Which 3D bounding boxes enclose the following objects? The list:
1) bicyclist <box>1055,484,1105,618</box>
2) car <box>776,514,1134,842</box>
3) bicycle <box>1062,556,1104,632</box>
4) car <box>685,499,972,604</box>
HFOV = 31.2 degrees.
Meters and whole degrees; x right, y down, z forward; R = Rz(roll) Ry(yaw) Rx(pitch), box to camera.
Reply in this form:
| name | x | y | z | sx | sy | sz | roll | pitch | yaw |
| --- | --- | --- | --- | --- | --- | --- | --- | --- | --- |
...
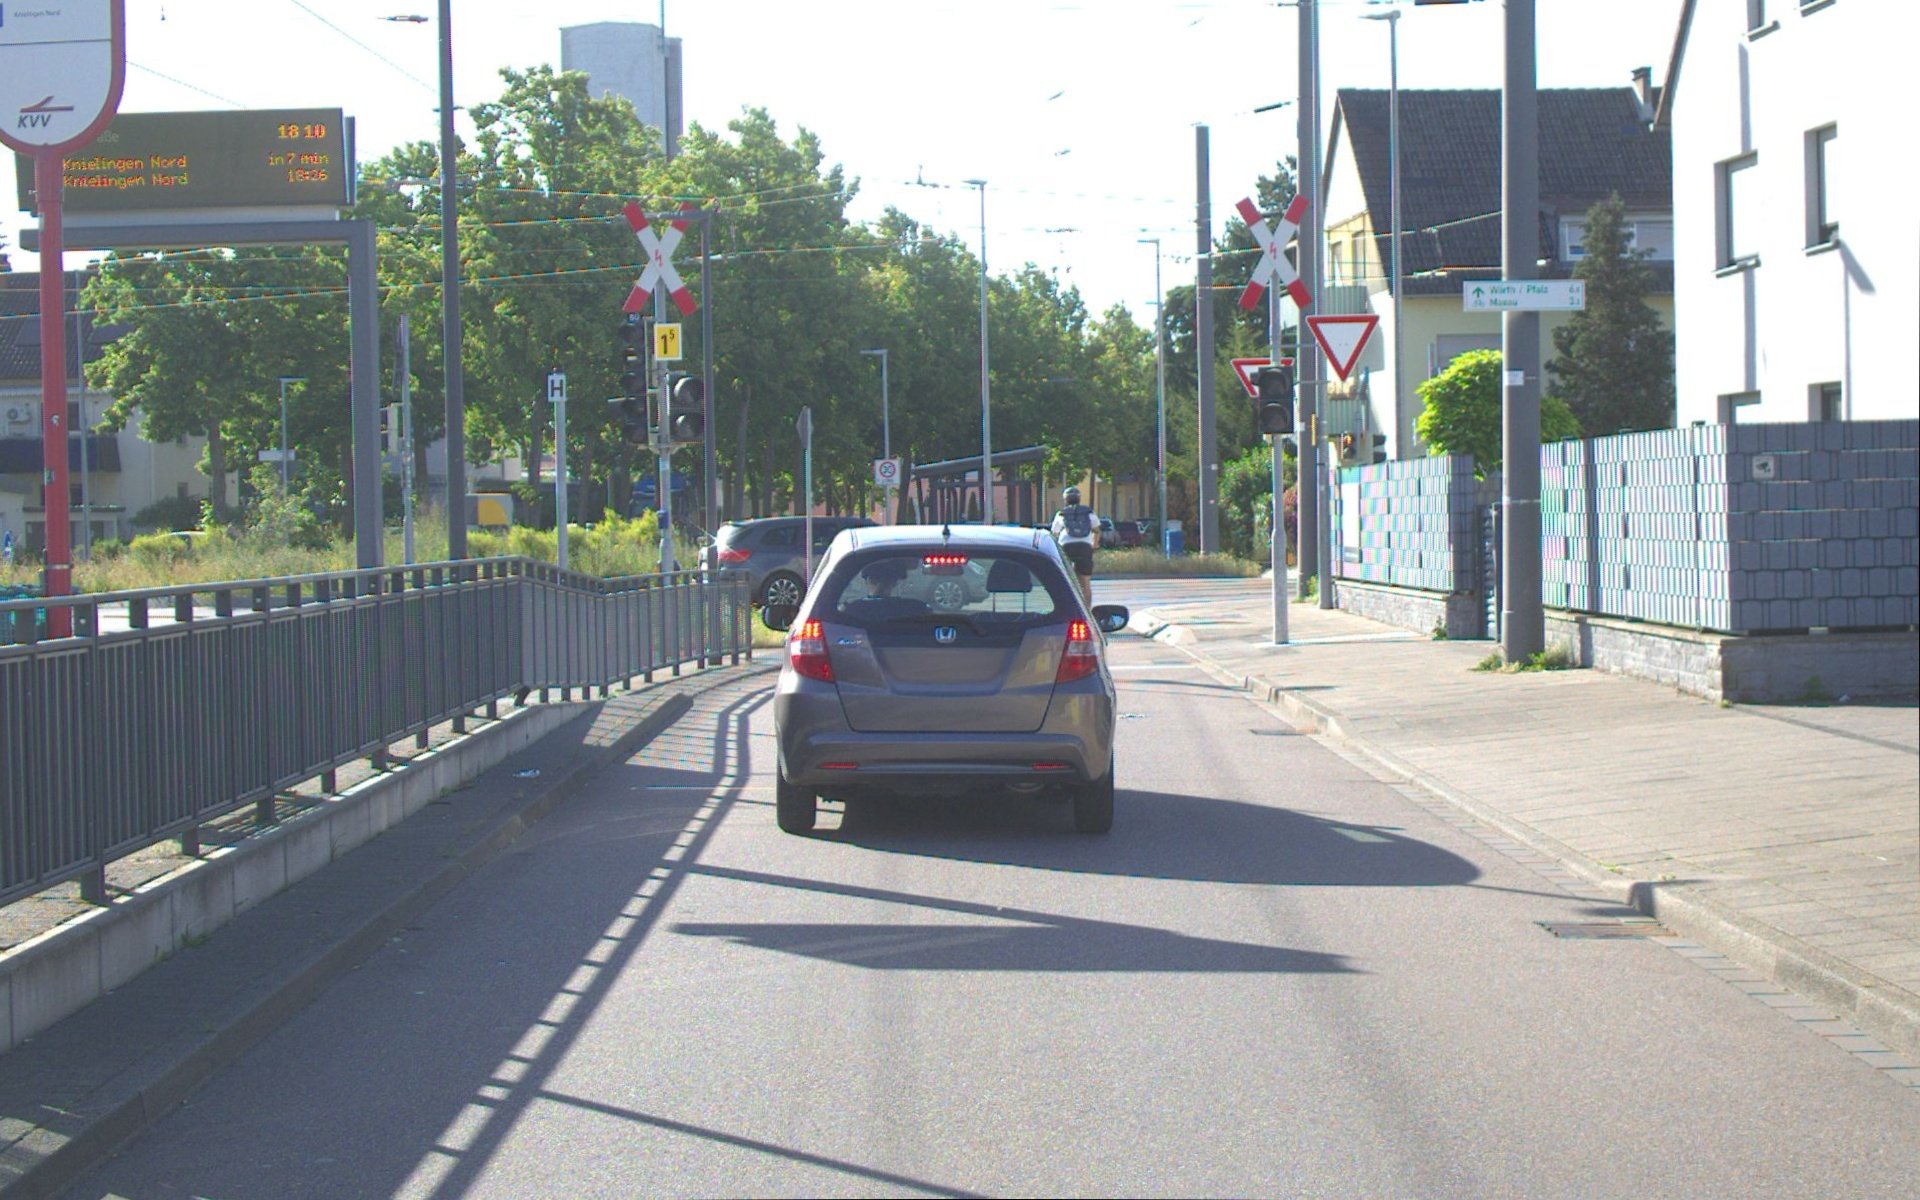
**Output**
| name | x | y | z | sx | sy | sz | roll | pitch | yaw |
| --- | --- | --- | --- | --- | --- | --- | --- | --- | --- |
| bicyclist | 1.543 | -0.629 | 44.258 | 0.598 | 1.695 | 0.683 | 1 | 1 | 0 |
| car | -0.062 | 0.330 | 17.967 | 1.670 | 1.530 | 3.487 | 1 | 1 | -1 |
| bicycle | 1.586 | -0.085 | 44.411 | 0.475 | 0.958 | 1.657 | 1 | 1 | 0 |
| car | -2.012 | -0.734 | 52.365 | 3.986 | 1.524 | 1.808 | 0 | 1 | -19 |
